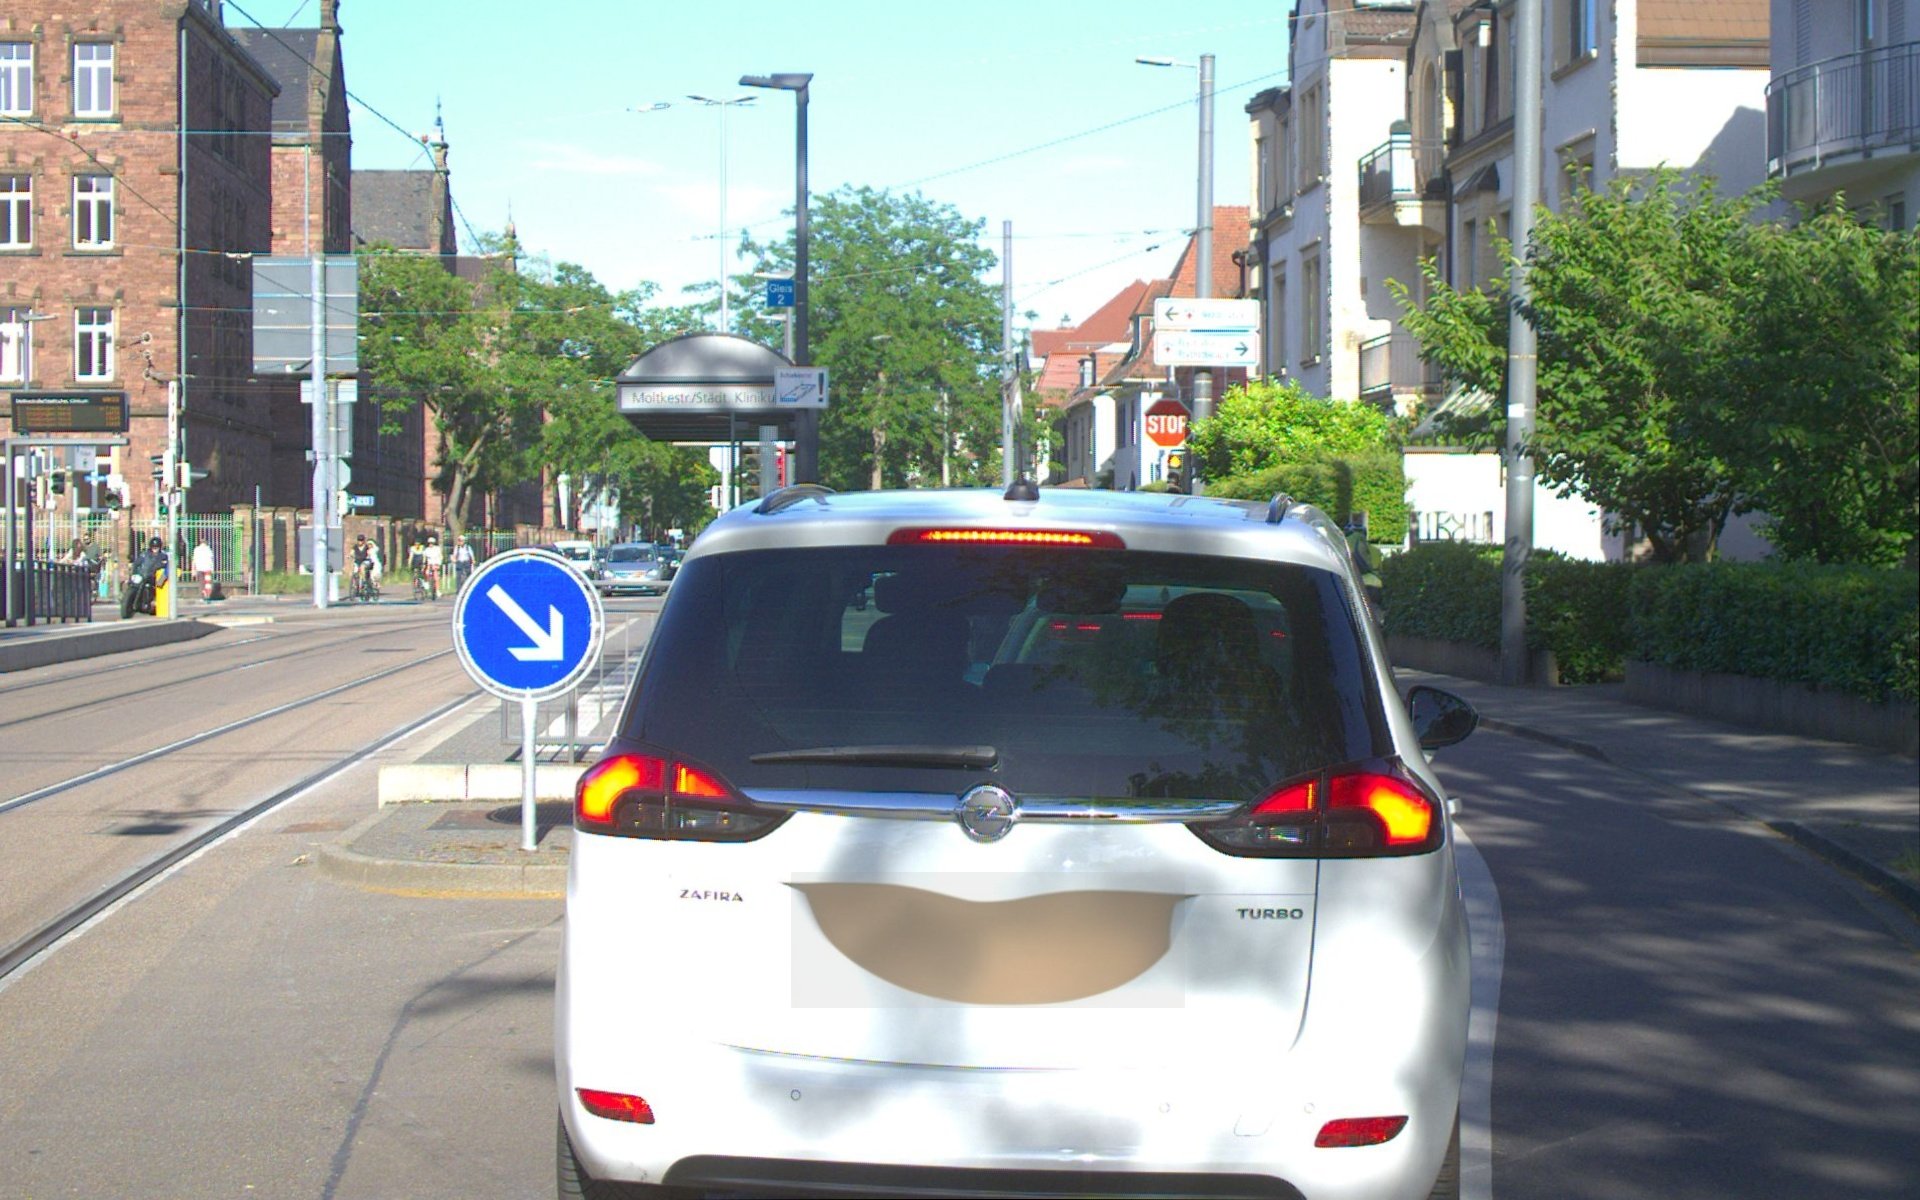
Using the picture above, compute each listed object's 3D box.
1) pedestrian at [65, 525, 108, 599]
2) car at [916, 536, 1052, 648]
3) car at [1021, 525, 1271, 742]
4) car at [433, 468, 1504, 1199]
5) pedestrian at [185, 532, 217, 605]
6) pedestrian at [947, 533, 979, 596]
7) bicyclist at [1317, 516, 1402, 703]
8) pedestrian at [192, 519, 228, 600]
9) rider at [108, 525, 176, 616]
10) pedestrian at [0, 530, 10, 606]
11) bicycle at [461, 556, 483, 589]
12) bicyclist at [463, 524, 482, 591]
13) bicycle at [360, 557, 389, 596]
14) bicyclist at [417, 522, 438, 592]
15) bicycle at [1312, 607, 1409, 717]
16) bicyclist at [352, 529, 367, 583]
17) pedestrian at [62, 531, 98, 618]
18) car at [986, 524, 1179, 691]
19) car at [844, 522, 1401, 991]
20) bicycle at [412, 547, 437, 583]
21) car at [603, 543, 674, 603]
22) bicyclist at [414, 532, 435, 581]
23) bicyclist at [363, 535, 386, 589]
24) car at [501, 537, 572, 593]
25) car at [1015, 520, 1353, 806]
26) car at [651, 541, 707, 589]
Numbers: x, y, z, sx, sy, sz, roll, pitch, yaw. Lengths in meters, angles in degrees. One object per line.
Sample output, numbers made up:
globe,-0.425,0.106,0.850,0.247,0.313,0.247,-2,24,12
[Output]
pedestrian,-22.620,-0.992,89.042,0.808,1.894,0.743,1,0,14
car,0.334,-0.151,53.082,1.907,1.656,4.001,0,1,-2
car,1.563,0.217,28.268,1.907,1.656,4.000,0,1,4
car,0.229,0.560,8.076,1.907,1.656,3.999,0,1,7
pedestrian,-21.026,-0.879,95.234,0.689,2.007,0.617,1,0,5
pedestrian,0.089,-1.066,103.904,0.808,1.894,0.743,1,0,14
bicyclist,3.574,0.074,30.800,0.676,1.652,0.745,0,1,1
pedestrian,-18.533,-1.001,84.968,0.794,2.007,0.721,1,0,-17
rider,-16.309,-0.585,68.579,0.795,1.776,2.488,1,1,-2
pedestrian,-22.637,-0.762,80.404,0.766,1.768,0.721,1,0,-17
bicycle,-14.768,-0.836,104.039,0.487,0.968,1.405,1,1,0
bicyclist,-14.769,-1.282,104.066,0.488,2.007,0.502,1,0,-1
bicycle,-16.304,-0.652,95.802,0.509,1.073,1.739,1,1,-1
bicyclist,-15.386,-1.242,99.278,0.498,2.007,0.572,1,0,-1
bicycle,3.584,0.541,30.852,0.676,0.922,1.885,0,1,1
bicyclist,-16.098,-1.181,92.171,0.313,1.439,0.384,1,0,-1
pedestrian,-20.563,-0.602,80.329,0.794,2.007,1.047,1,0,-15
car,1.240,0.035,36.105,1.907,1.656,4.000,0,1,1
car,0.779,0.494,13.768,1.907,1.592,3.999,0,1,7
bicycle,-16.140,-1.058,103.636,0.509,1.073,1.739,1,1,-1
car,-9.436,-0.797,101.146,1.746,1.710,4.000,1,1,-1
bicyclist,-16.134,-1.318,103.664,0.531,1.472,0.572,1,0,-1
bicyclist,-16.310,-1.058,95.839,0.531,1.472,0.572,1,0,-1
car,-13.280,-1.099,107.984,1.746,1.710,4.000,1,1,-1
car,1.500,0.320,21.607,1.907,1.619,3.999,0,1,7
car,-10.242,-1.266,125.702,1.746,1.710,4.000,1,1,-1
